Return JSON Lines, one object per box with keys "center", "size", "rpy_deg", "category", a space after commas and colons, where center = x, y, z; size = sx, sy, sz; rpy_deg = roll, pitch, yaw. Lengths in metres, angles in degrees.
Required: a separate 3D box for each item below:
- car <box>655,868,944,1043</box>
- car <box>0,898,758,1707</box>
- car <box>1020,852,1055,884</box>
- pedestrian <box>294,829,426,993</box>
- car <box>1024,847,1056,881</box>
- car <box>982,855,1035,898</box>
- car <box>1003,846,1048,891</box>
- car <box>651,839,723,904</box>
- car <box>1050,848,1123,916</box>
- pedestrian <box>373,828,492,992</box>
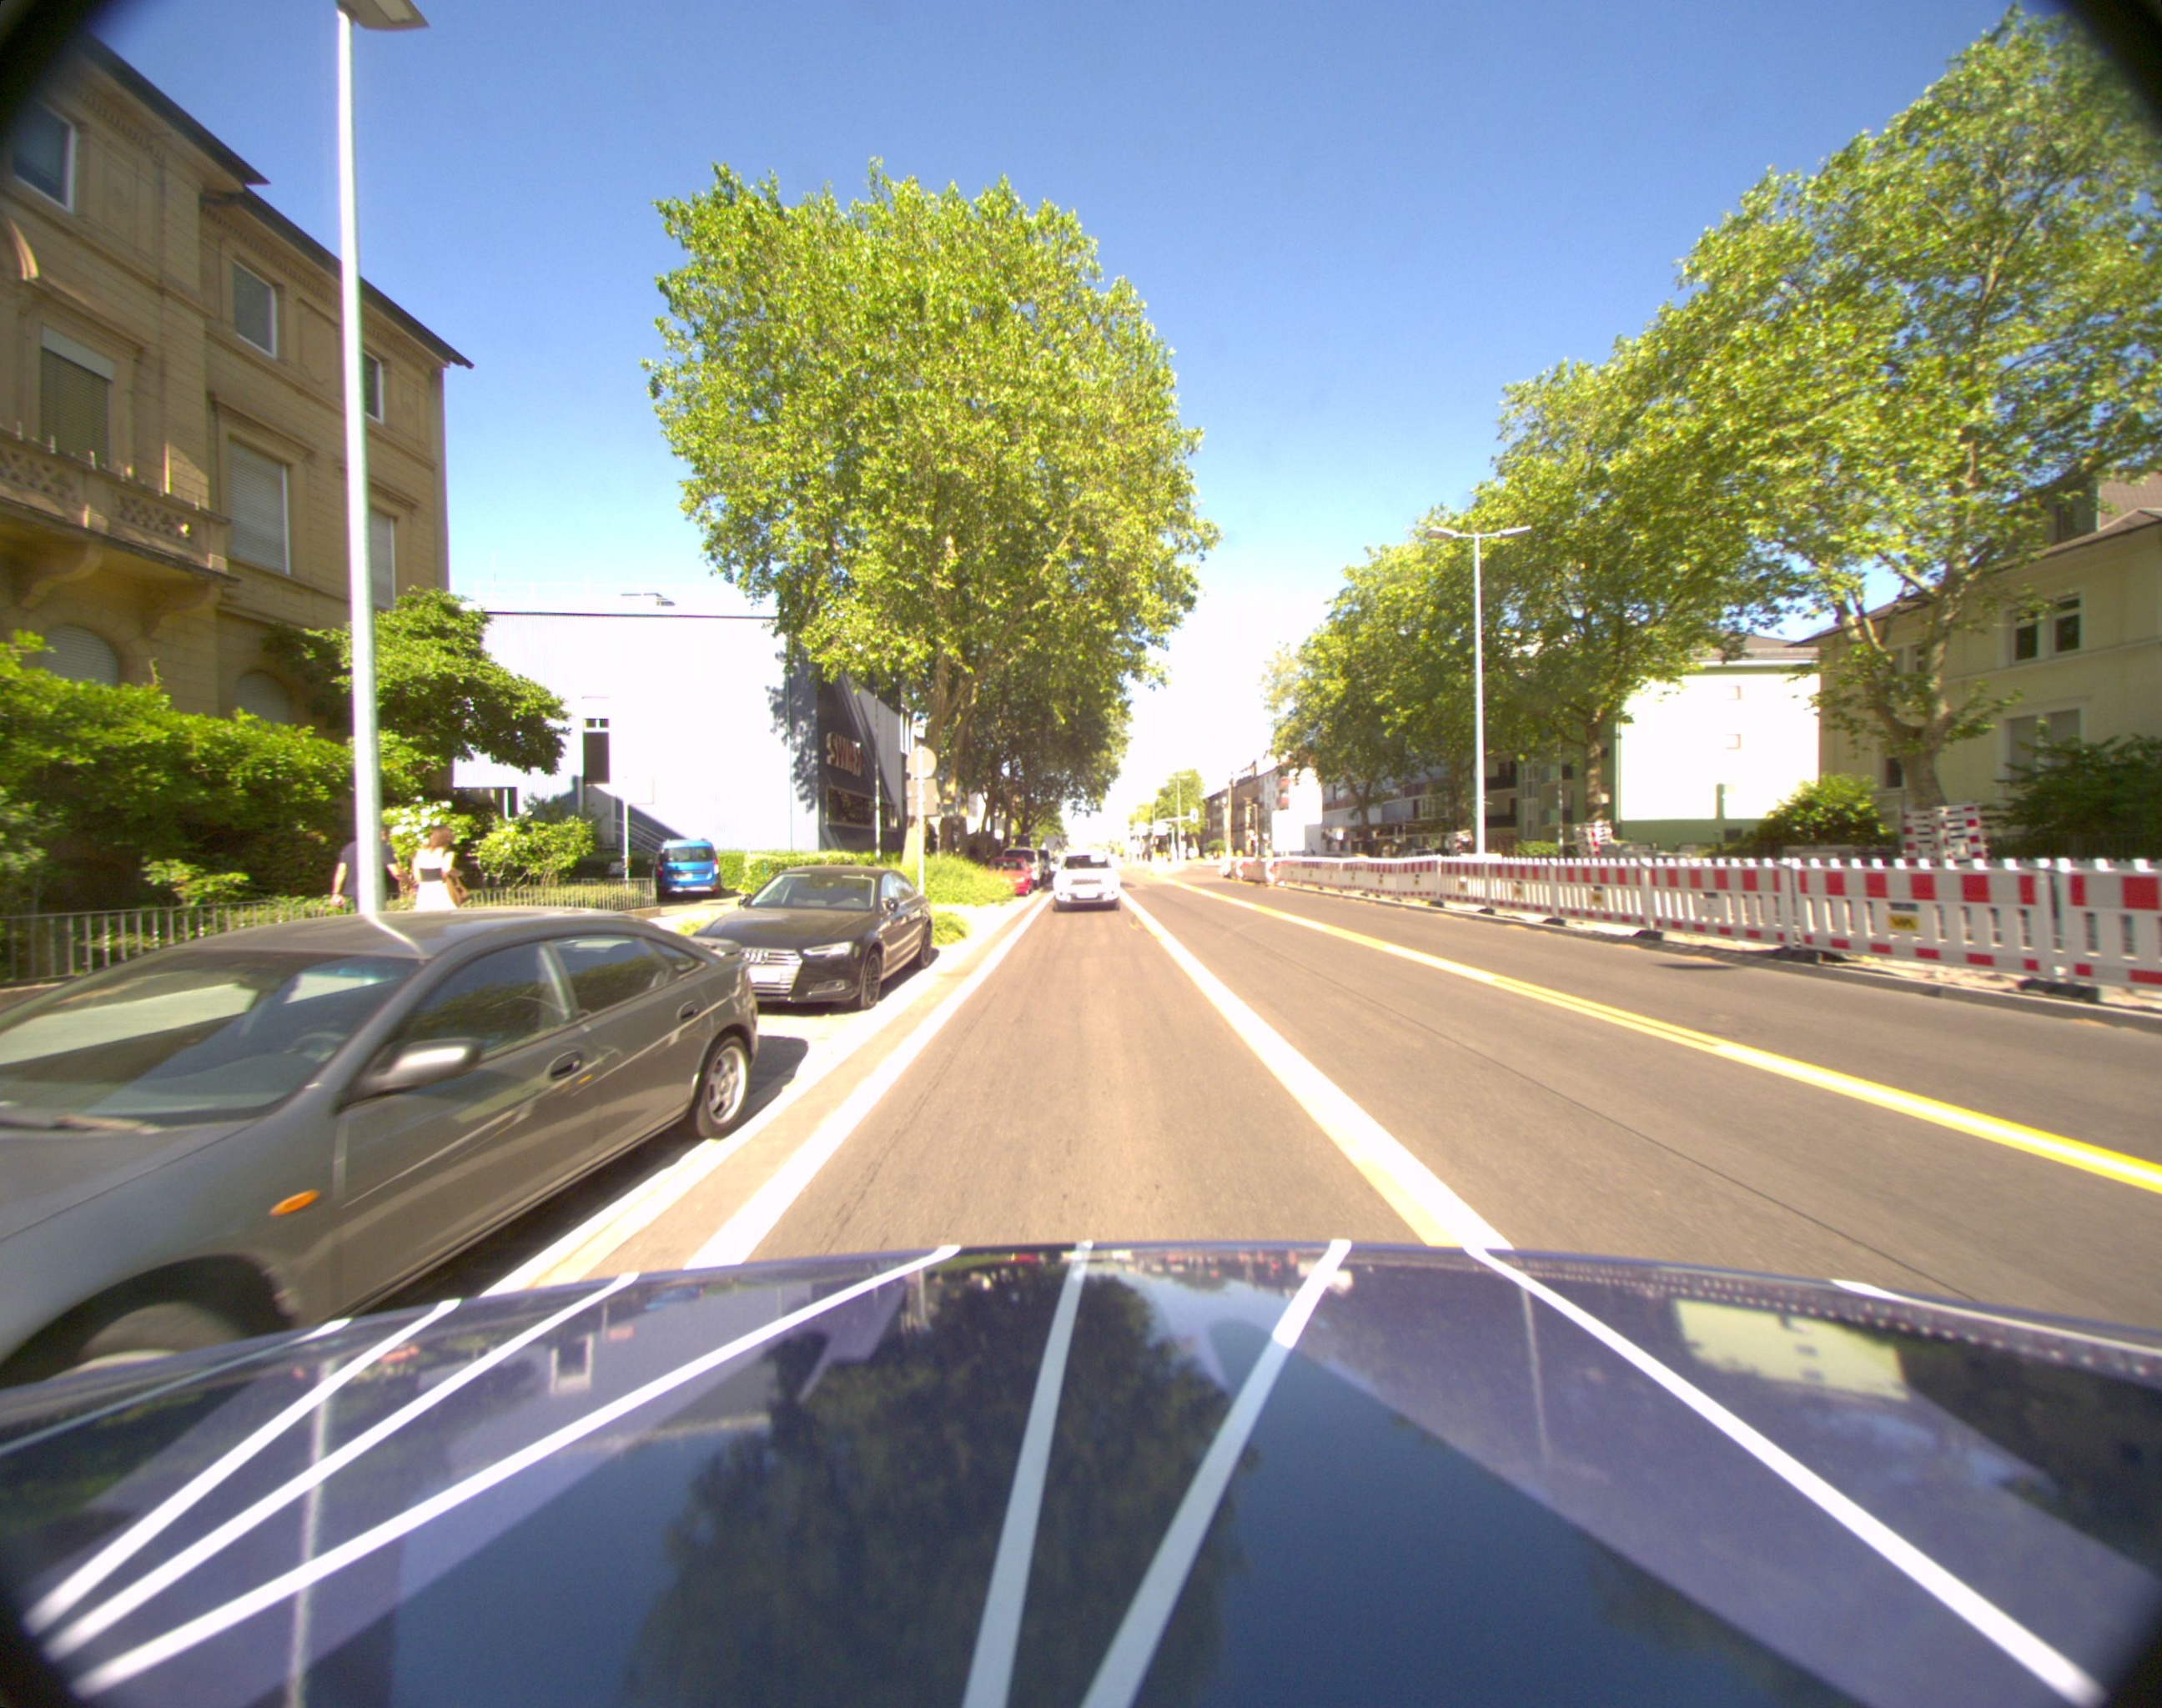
{"center": [-2.948, 0.956, 9.107], "size": [1.720, 1.404, 4.476], "rpy_deg": [2, 1, 1], "category": "car"}
{"center": [-2.883, 1.002, 2.677], "size": [1.720, 1.404, 4.048], "rpy_deg": [1, 1, 1], "category": "car"}
{"center": [-2.317, 0.737, 41.303], "size": [1.631, 1.625, 4.220], "rpy_deg": [0, 1, 1], "category": "car"}
{"center": [-8.187, 0.621, 8.670], "size": [0.698, 1.786, 0.802], "rpy_deg": [0, 1, 0], "category": "pedestrian"}
{"center": [-2.478, 0.552, 46.696], "size": [1.631, 1.997, 4.220], "rpy_deg": [0, 1, 1], "category": "car"}
{"center": [-2.780, 0.836, 29.894], "size": [1.674, 1.509, 3.997], "rpy_deg": [0, 1, 1], "category": "car"}
{"center": [-2.570, 0.626, 35.918], "size": [1.753, 1.954, 4.506], "rpy_deg": [0, 1, 1], "category": "car"}
{"center": [-12.145, 0.465, 23.352], "size": [1.803, 1.811, 3.990], "rpy_deg": [-1, 1, -29], "category": "car"}
{"center": [0.162, 0.729, 22.326], "size": [1.868, 1.716, 4.506], "rpy_deg": [-2, 0, 1], "category": "car"}
{"center": [-7.346, 0.613, 8.642], "size": [0.698, 1.786, 0.715], "rpy_deg": [0, 1, 0], "category": "pedestrian"}
